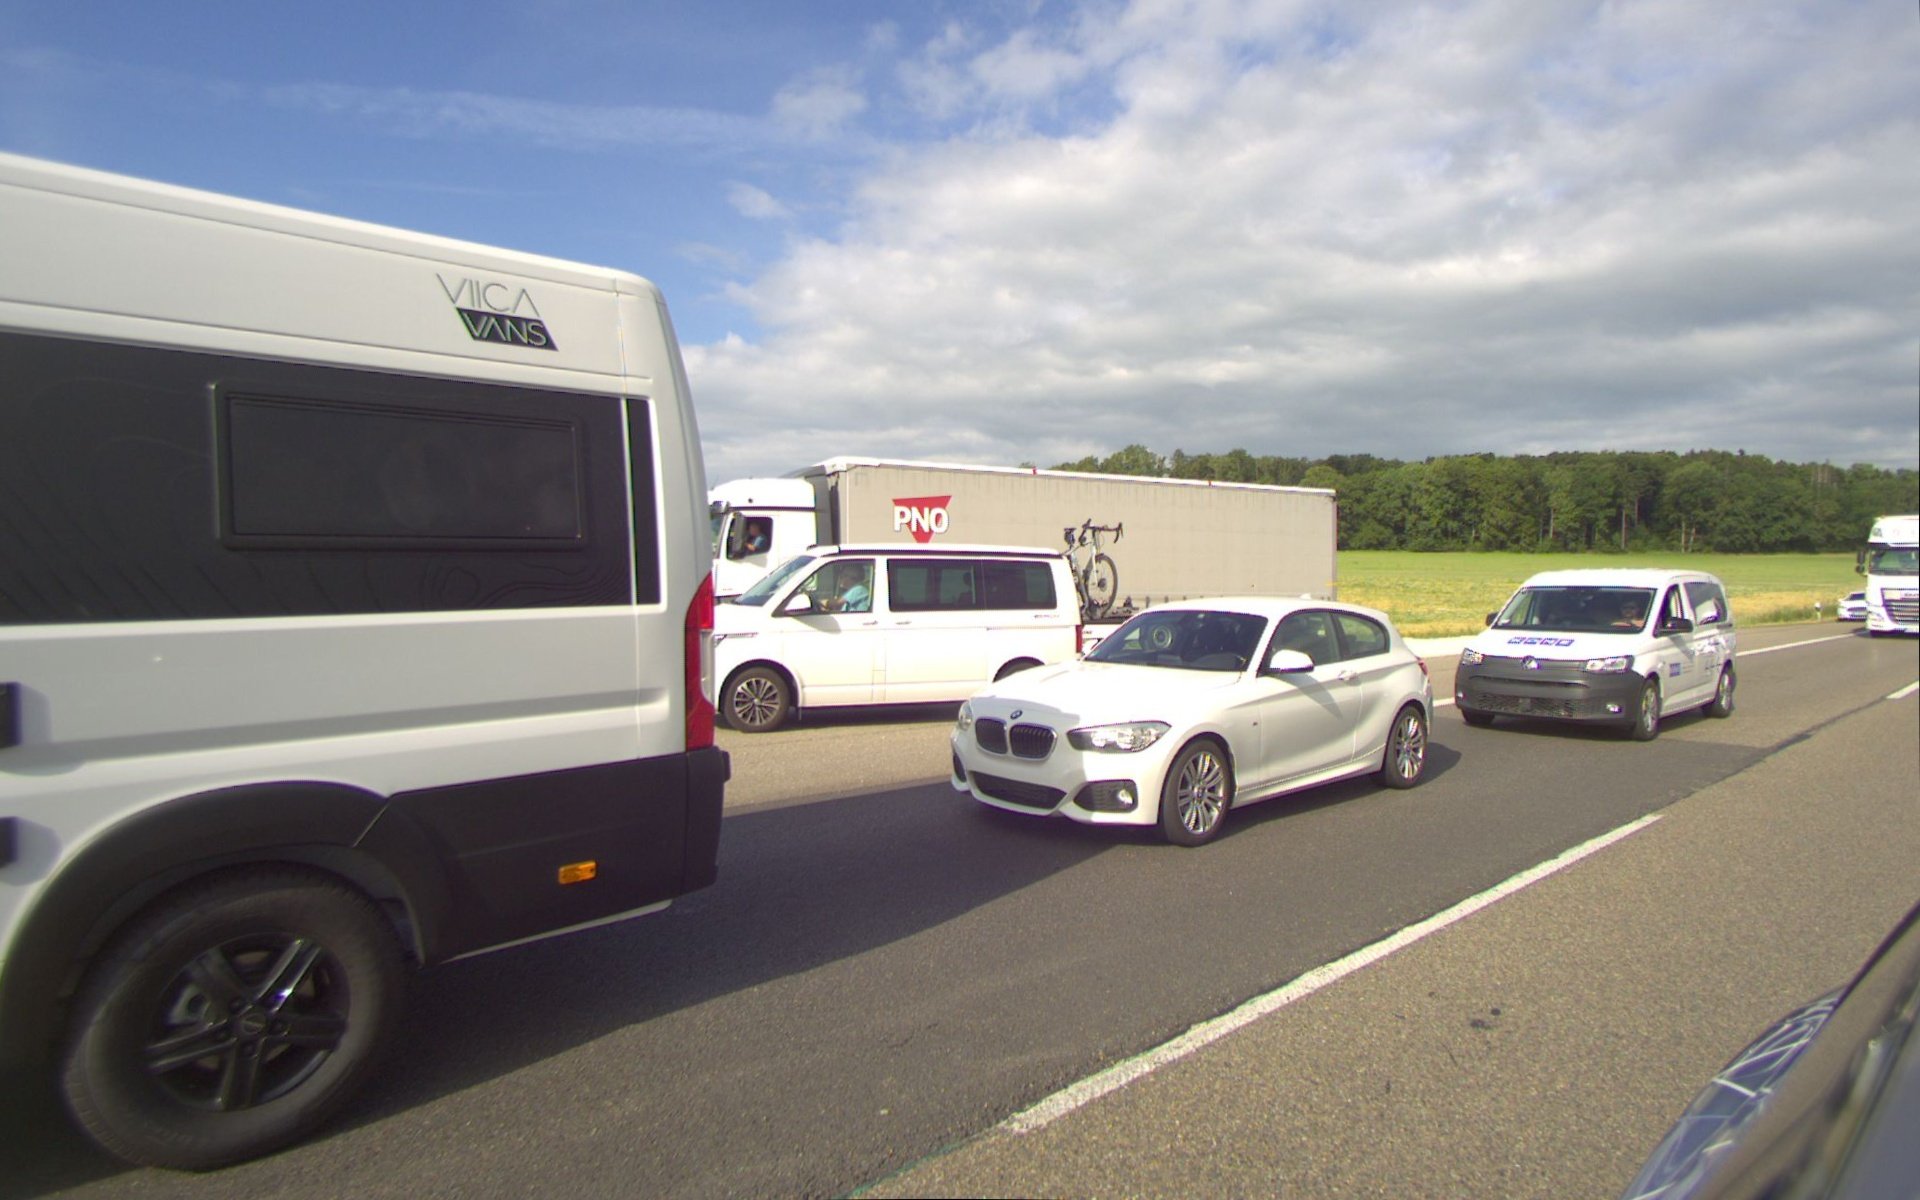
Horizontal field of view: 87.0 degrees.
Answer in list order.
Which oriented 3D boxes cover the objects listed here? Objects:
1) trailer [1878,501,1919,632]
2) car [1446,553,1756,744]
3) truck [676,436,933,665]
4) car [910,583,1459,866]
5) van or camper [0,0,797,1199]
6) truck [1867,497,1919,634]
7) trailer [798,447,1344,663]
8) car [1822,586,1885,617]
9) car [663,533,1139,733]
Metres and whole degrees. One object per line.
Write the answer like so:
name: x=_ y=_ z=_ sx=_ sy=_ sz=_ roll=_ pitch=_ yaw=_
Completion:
trailer: x=36.471 y=-1.216 z=37.051 sx=13.777 sy=4.212 sz=2.739 roll=-1 pitch=1 yaw=-41
car: x=7.480 y=0.434 z=11.602 sx=4.620 sy=1.779 sz=1.727 roll=0 pitch=0 yaw=-41
truck: x=-3.240 y=-0.928 z=20.931 sx=4.662 sy=4.226 sz=2.727 roll=0 pitch=0 yaw=-26
car: x=1.795 y=0.620 z=7.218 sx=4.158 sy=1.450 sz=1.706 roll=0 pitch=0 yaw=-41
van or camper: x=-3.612 y=0.003 z=2.218 sx=6.222 sy=2.714 sz=2.219 roll=0 pitch=1 yaw=-41
truck: x=31.812 y=-1.107 z=32.963 sx=5.667 sy=4.226 sz=2.733 roll=-1 pitch=1 yaw=-41
trailer: x=3.118 y=-0.893 z=24.053 sx=13.544 sy=4.213 sz=2.748 roll=0 pitch=0 yaw=-26
car: x=43.537 y=0.031 z=49.285 sx=4.551 sy=1.450 sz=1.869 roll=0 pitch=1 yaw=-43
car: x=-0.659 y=0.306 z=11.650 sx=5.156 sy=1.949 sz=1.804 roll=0 pitch=0 yaw=-21
